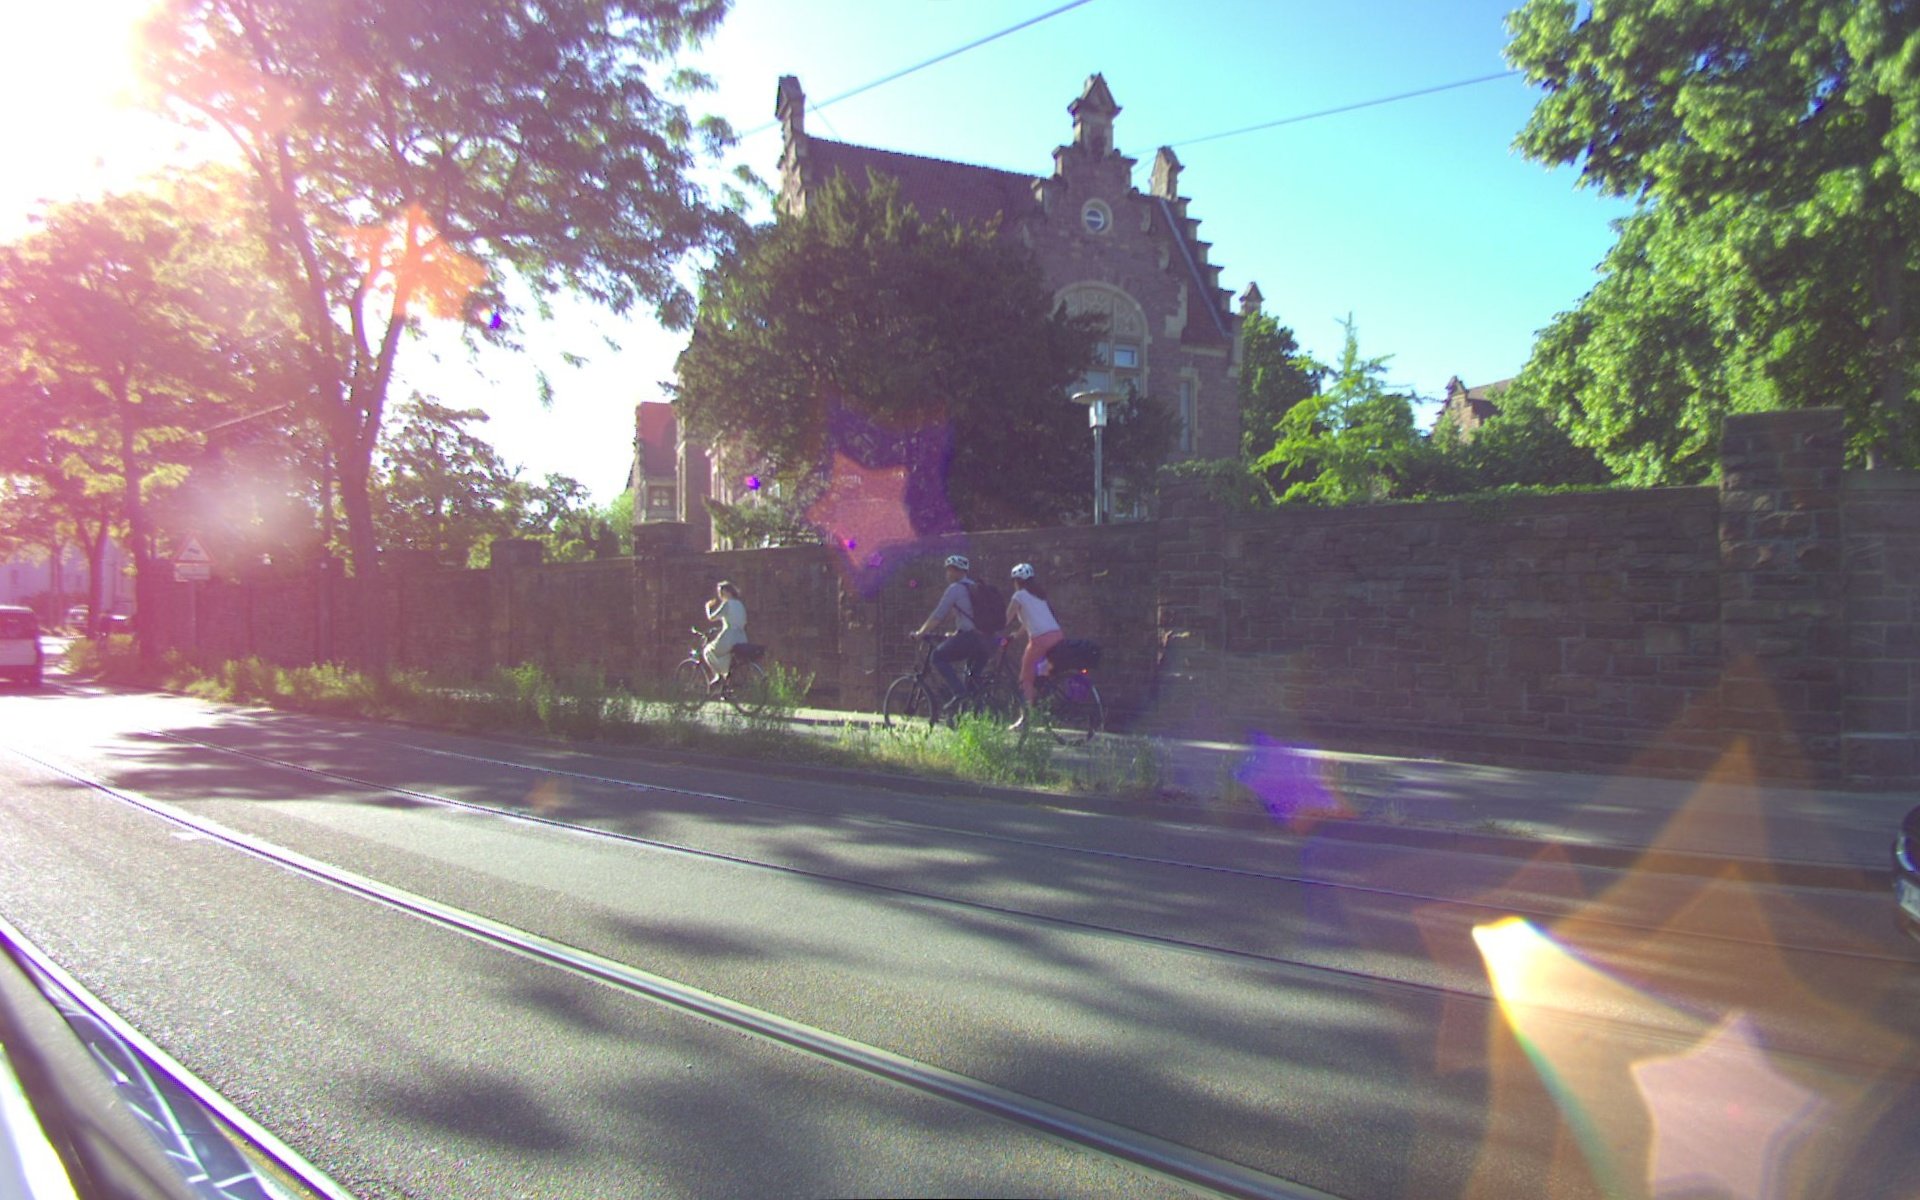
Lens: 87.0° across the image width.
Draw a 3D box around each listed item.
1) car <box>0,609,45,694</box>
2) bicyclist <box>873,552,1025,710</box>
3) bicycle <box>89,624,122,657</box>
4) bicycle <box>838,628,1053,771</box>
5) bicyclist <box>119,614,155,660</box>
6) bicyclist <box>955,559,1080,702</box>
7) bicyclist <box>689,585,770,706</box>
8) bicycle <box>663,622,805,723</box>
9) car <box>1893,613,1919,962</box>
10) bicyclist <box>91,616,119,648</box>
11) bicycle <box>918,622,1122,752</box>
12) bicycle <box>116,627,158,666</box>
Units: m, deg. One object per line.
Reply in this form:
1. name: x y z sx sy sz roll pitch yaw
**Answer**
1. car: -22.419 1.135 23.024 3.996 1.824 1.809 -1 -1 39
2. bicyclist: -0.119 0.278 9.728 1.271 1.401 0.758 -1 0 41
3. bicycle: -31.106 1.458 36.827 1.735 1.121 0.676 -1 0 41
4. bicycle: -0.184 0.892 9.792 2.102 1.200 0.764 -1 0 41
5. bicyclist: -24.053 1.073 29.581 0.871 1.294 0.676 -1 0 41
6. bicyclist: 0.594 0.299 10.485 1.060 1.401 0.724 -1 0 39
7. bicyclist: -3.060 0.583 13.423 0.751 1.546 0.734 -1 0 41
8. bicycle: -3.021 0.911 13.394 2.087 1.200 0.737 -1 0 41
9. car: 5.657 0.737 2.725 4.230 1.433 1.728 -1 -1 22
10. bicyclist: -31.131 1.156 36.842 0.693 1.121 0.676 -1 0 41
11. bicycle: 0.582 0.844 10.494 2.086 1.200 0.724 -1 0 39
12. bicycle: -24.061 1.334 29.587 1.735 1.086 0.676 -1 0 41
